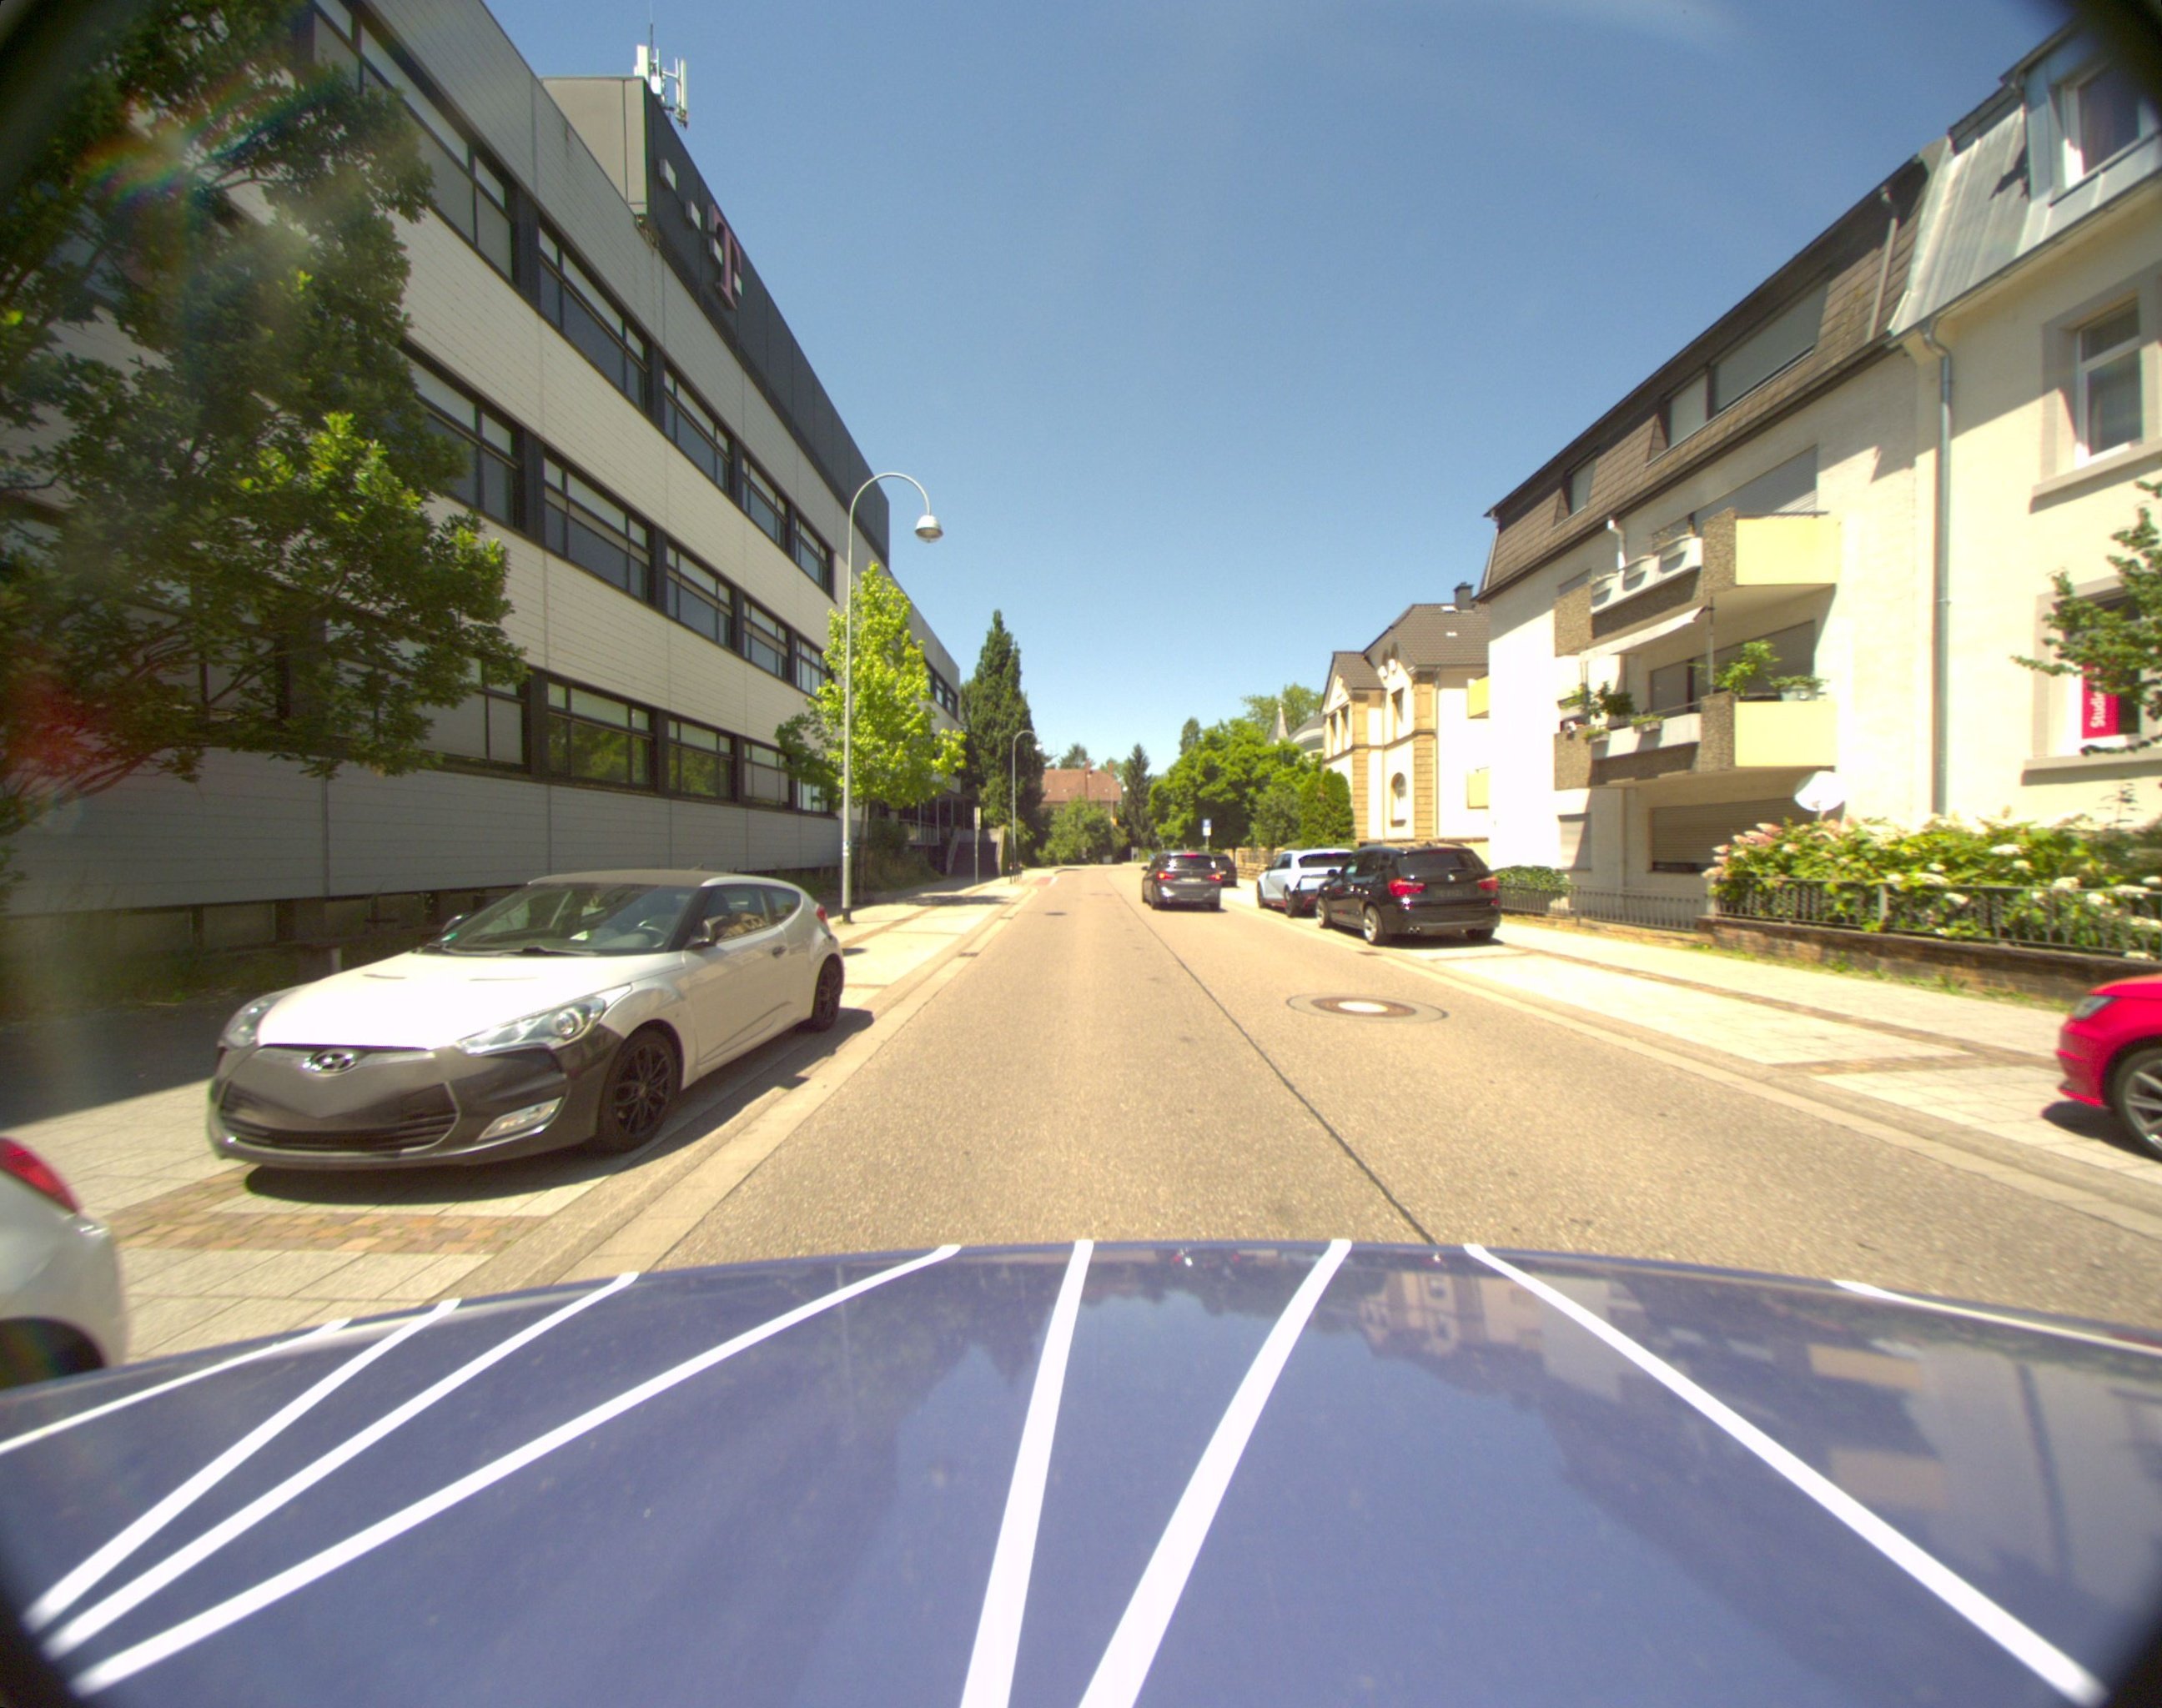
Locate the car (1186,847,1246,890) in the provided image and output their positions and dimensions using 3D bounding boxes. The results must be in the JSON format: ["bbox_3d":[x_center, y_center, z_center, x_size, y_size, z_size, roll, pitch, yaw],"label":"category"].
[{"bbox_3d":[5.852,0.582,33.327,1.925,1.681,4.287,-3,1,2],"label":"car"}]

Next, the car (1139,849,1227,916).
[{"bbox_3d":[2.743,0.697,21.338,1.925,1.668,4.286,0,1,1],"label":"car"}]

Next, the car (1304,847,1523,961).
[{"bbox_3d":[5.553,0.719,13.422,1.925,1.577,4.435,-3,1,1],"label":"car"}]

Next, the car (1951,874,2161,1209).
[{"bbox_3d":[5.745,0.864,2.127,1.737,1.444,4.259,-3,1,1],"label":"car"}]

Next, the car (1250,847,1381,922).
[{"bbox_3d":[5.659,0.657,18.938,1.925,1.577,4.287,-3,1,1],"label":"car"}]

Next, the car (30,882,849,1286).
[{"bbox_3d":[-3.100,0.957,4.934,1.841,1.357,4.000,1,0,2],"label":"car"}]
